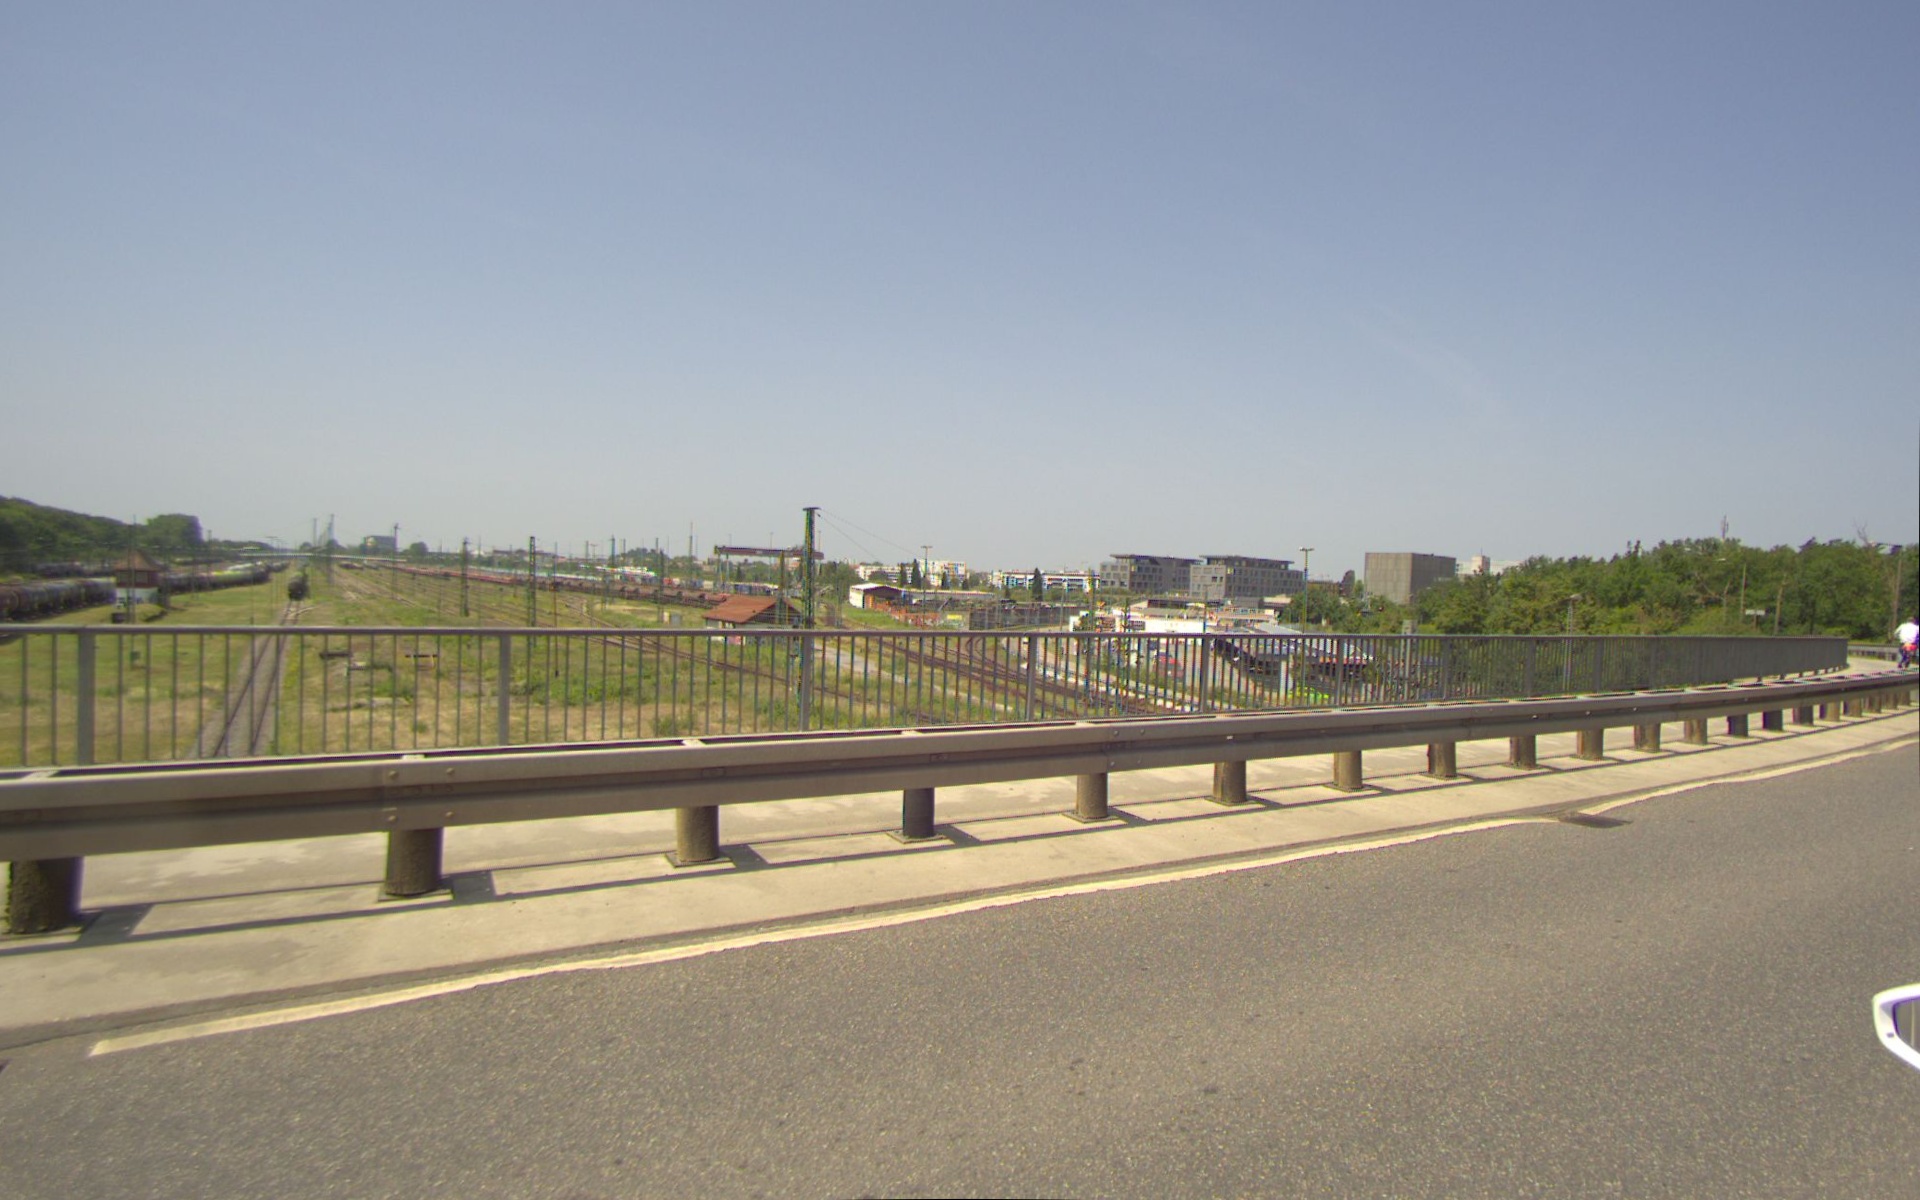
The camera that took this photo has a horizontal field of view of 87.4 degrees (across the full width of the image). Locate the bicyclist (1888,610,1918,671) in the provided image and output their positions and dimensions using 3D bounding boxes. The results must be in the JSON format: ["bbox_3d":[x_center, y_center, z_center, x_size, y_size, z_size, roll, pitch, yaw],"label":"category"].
[{"bbox_3d":[30.166,1.267,32.137,0.616,1.911,0.709,1,1,39],"label":"bicyclist"}]

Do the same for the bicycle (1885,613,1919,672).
[{"bbox_3d":[30.093,1.329,32.065,0.689,1.826,2.171,1,1,39],"label":"bicycle"}]
